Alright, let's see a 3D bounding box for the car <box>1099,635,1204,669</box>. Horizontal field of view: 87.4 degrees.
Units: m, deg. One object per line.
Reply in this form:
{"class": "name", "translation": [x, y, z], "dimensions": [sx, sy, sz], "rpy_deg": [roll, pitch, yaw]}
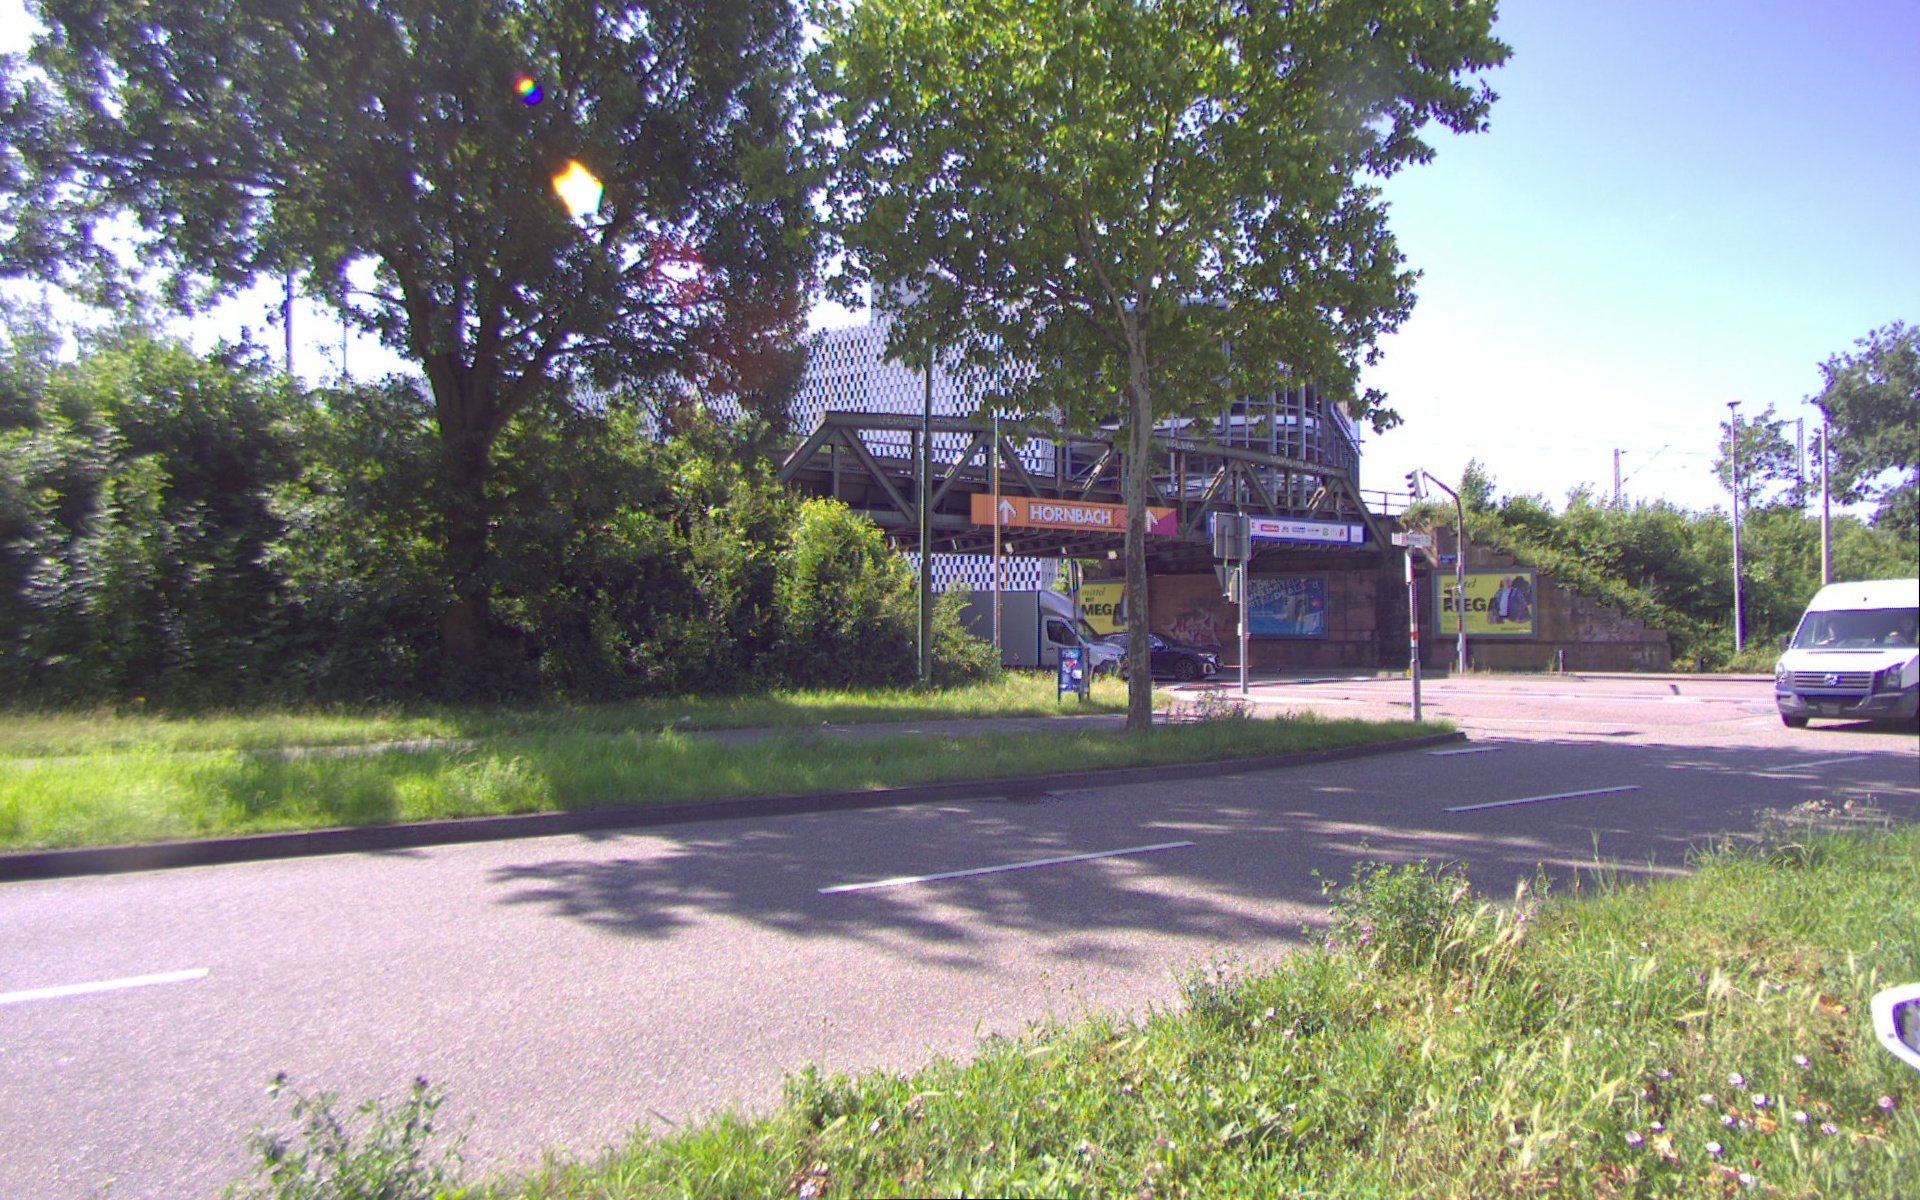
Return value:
{"class": "car", "translation": [8.257, 2.249, 43.444], "dimensions": [4.147, 1.367, 1.638], "rpy_deg": [-2, -2, 27]}

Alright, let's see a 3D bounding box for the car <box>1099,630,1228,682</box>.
{"class": "car", "translation": [6.911, 1.892, 34.170], "dimensions": [3.926, 1.668, 1.902], "rpy_deg": [-2, -2, 27]}

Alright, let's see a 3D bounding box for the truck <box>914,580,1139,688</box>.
{"class": "truck", "translation": [2.040, 1.121, 31.726], "dimensions": [6.739, 3.146, 2.216], "rpy_deg": [-2, -2, 27]}

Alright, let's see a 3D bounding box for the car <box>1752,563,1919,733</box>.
{"class": "car", "translation": [16.946, 0.869, 18.301], "dimensions": [5.719, 2.697, 1.984], "rpy_deg": [1, -3, -30]}
